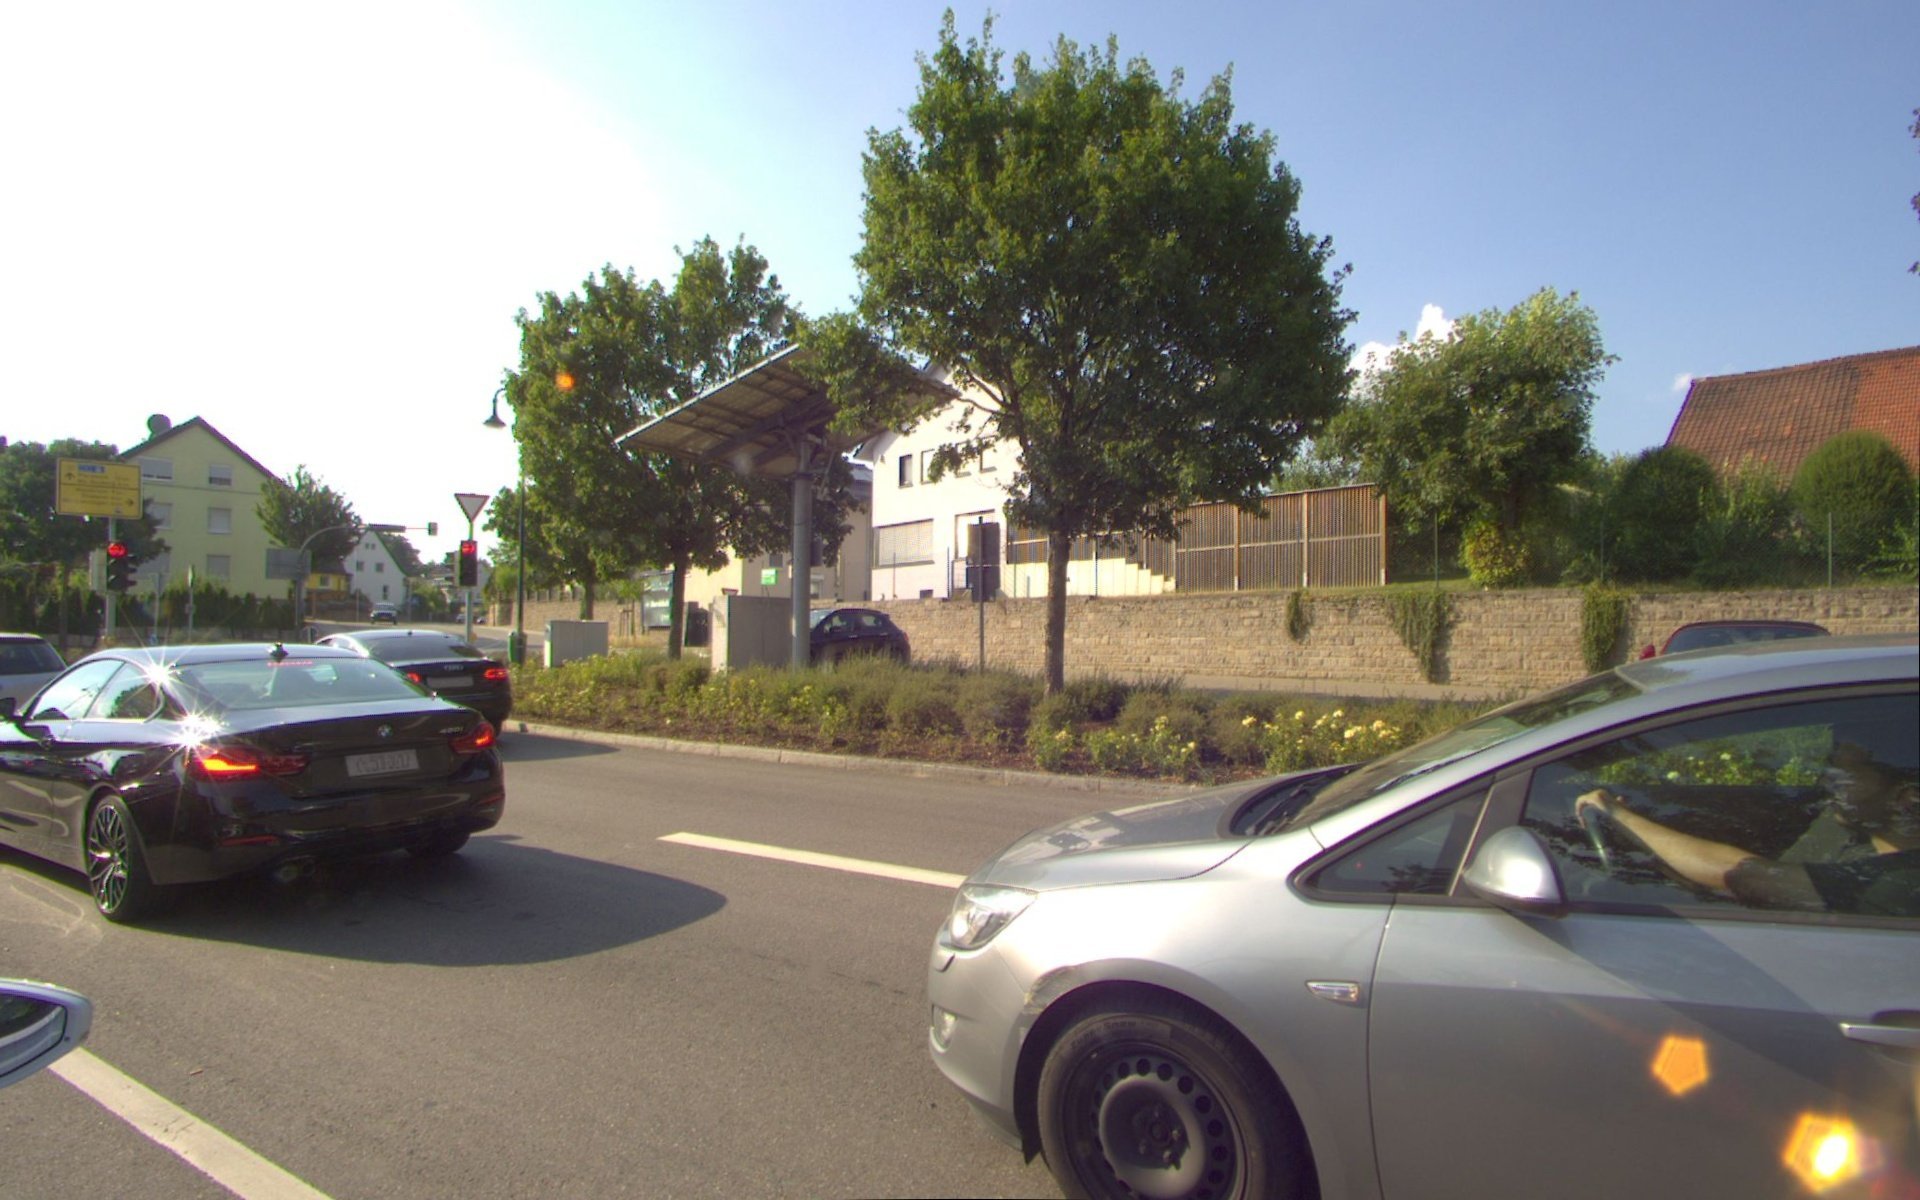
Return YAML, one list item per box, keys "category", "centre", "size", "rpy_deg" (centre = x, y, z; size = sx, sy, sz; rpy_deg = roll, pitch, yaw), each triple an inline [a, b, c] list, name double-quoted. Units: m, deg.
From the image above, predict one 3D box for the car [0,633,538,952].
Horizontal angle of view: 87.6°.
- category: "car"
  centre: [-4.803, 0.925, 6.444]
  size: [4.287, 1.406, 1.812]
  rpy_deg: [-1, -2, 34]

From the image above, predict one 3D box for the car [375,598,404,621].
- category: "car"
  centre: [-42.705, 0.672, 74.978]
  size: [1.766, 1.527, 4.046]
  rpy_deg: [1, 2, -30]

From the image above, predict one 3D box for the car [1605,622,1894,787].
- category: "car"
  centre: [7.913, 0.888, 9.899]
  size: [1.835, 1.288, 3.964]
  rpy_deg: [-1, -2, 45]

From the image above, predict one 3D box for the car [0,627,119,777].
- category: "car"
  centre: [-11.148, 1.033, 11.004]
  size: [4.287, 1.465, 1.812]
  rpy_deg: [-1, -2, 34]

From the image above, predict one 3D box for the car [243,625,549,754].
- category: "car"
  centre: [-7.535, 1.059, 13.224]
  size: [4.526, 1.454, 1.677]
  rpy_deg: [-1, -2, 34]

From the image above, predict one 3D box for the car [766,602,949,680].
- category: "car"
  centre: [-2.298, 0.935, 23.146]
  size: [1.835, 1.628, 3.964]
  rpy_deg: [-1, -2, 45]

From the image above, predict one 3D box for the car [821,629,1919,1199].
- category: "car"
  centre: [1.814, 0.804, 2.401]
  size: [4.107, 1.460, 1.741]
  rpy_deg: [-1, -2, 32]
